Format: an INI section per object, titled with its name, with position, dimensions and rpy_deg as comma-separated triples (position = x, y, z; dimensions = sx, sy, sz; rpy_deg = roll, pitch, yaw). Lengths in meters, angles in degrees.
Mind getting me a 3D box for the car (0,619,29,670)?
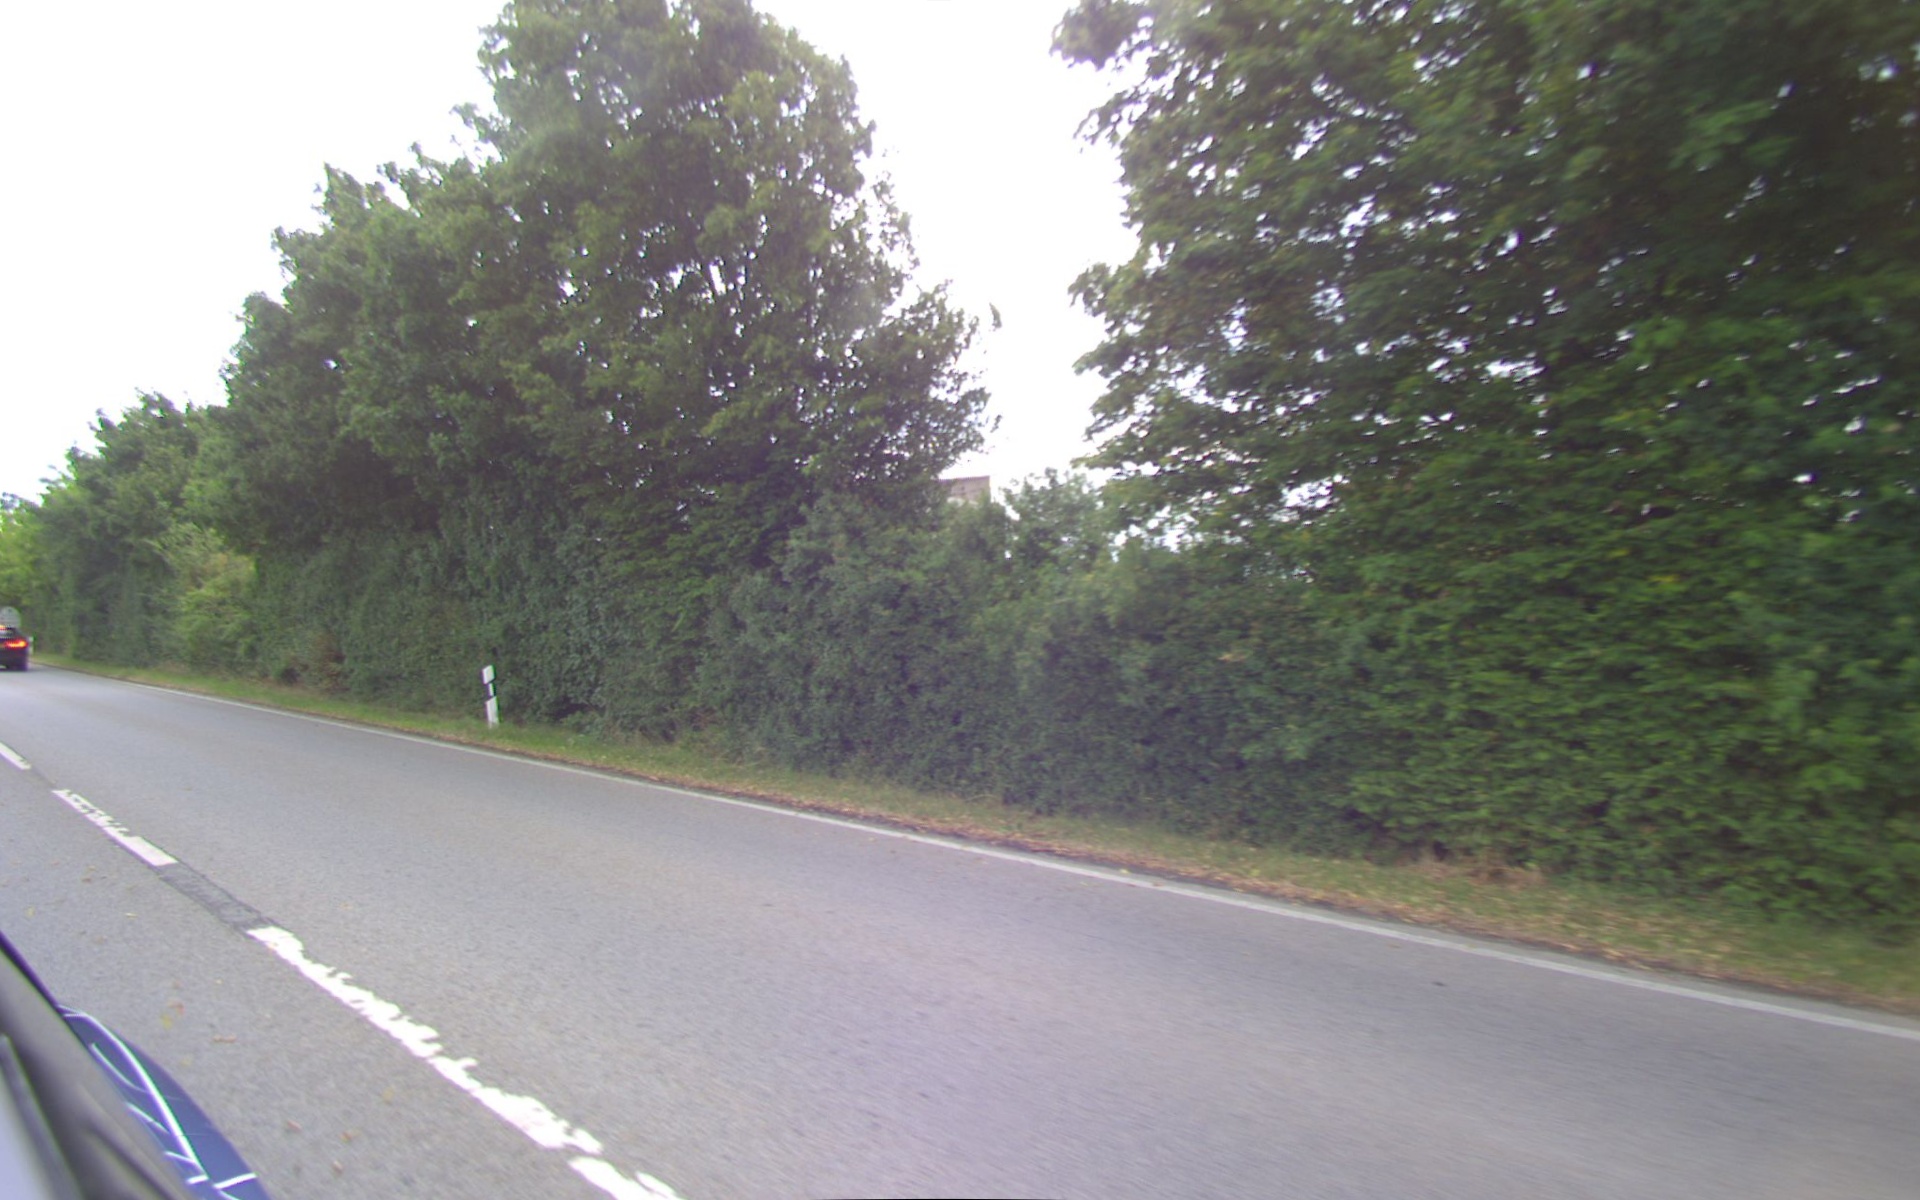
[car]
position = -31.783, 1.392, 32.615
dimensions = 4.551, 1.598, 1.921
rpy_deg = -1, -3, 39
